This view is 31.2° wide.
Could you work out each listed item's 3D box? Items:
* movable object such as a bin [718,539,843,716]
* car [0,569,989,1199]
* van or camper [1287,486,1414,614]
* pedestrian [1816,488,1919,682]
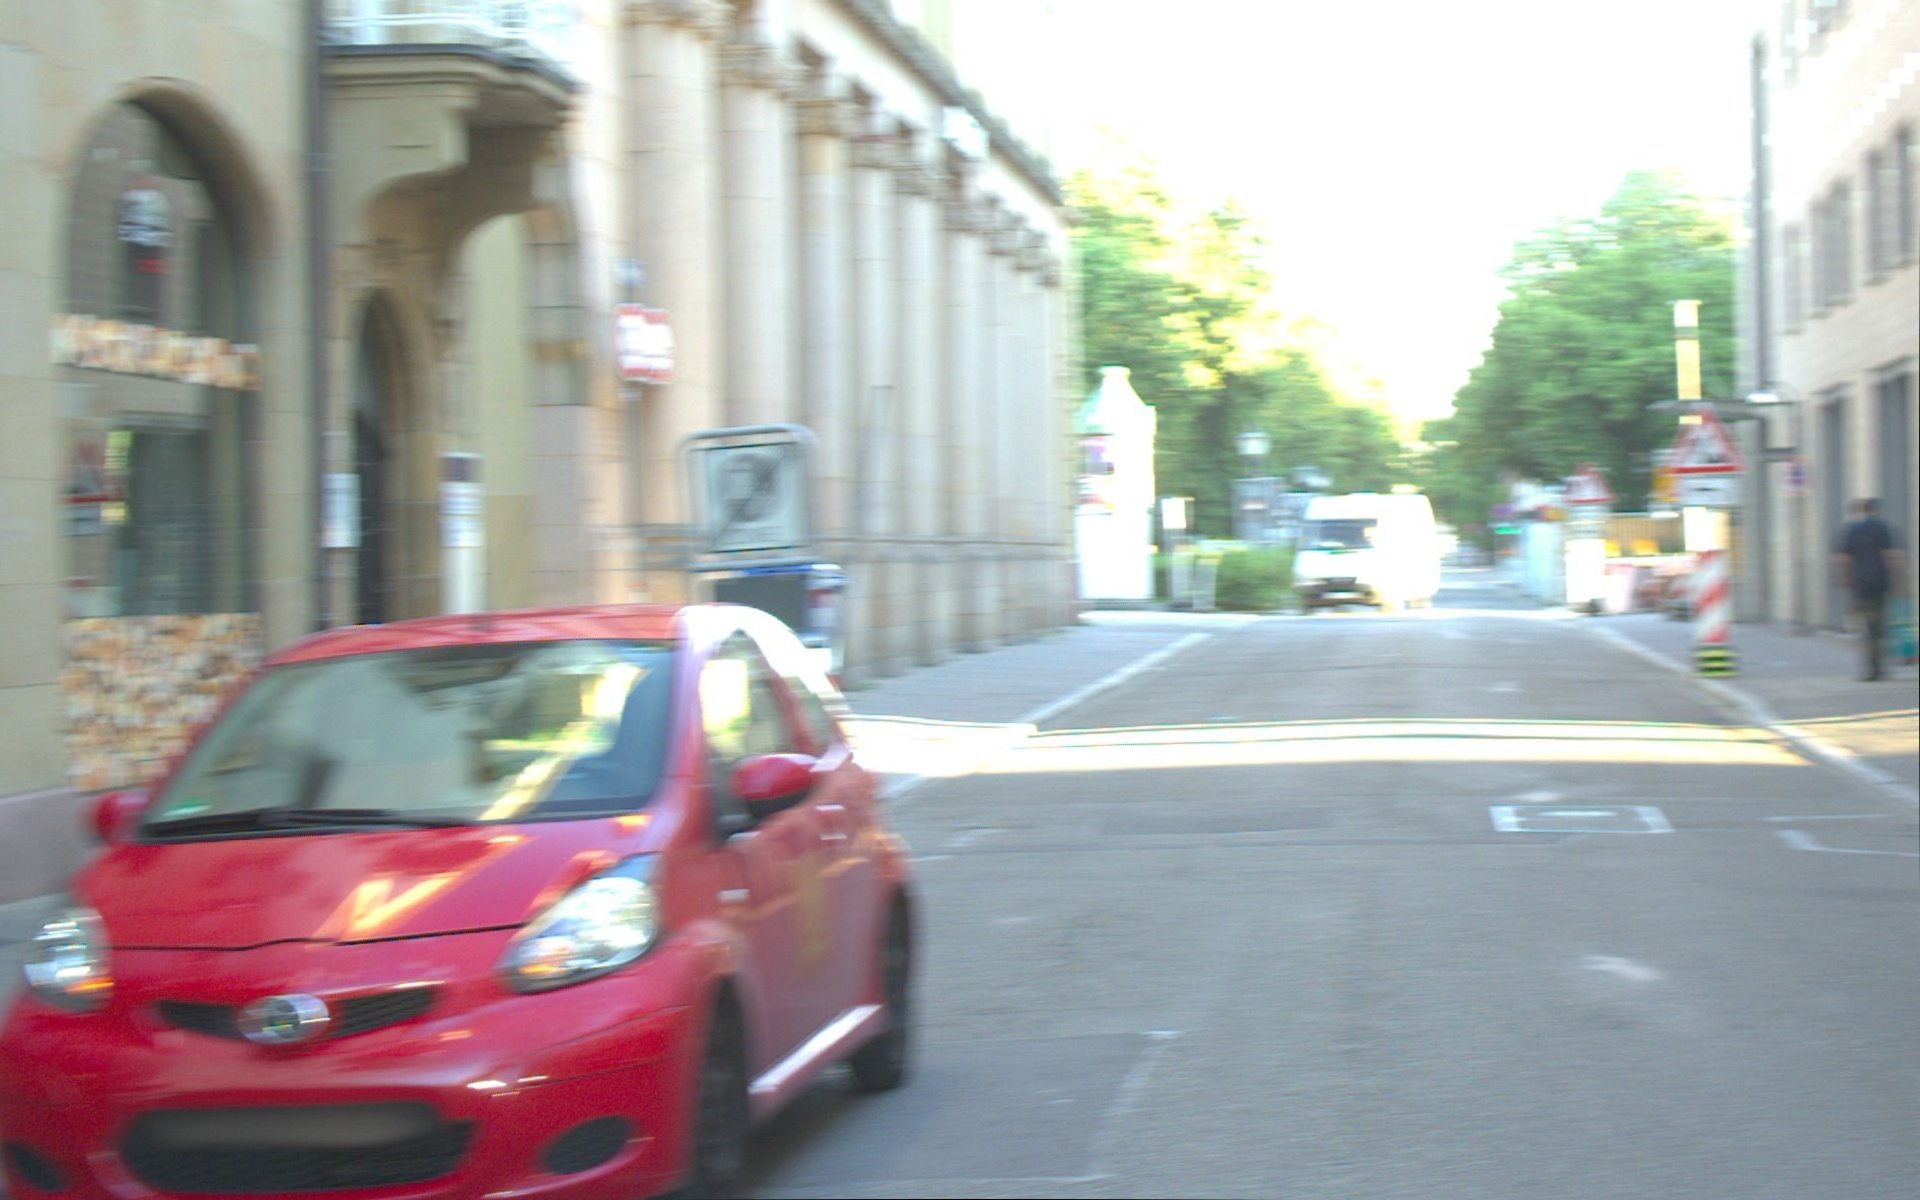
[{"bbox_3d":[-1.548,0.221,29.875,0.829,1.498,1.291,0,1,9],"label":"movable object such as a bin"},{"bbox_3d":[-1.074,0.721,8.934,1.658,1.464,3.930,-4,0,9],"label":"car"},{"bbox_3d":[8.312,-1.081,72.676,2.220,2.576,6.369,-1,1,10],"label":"van or camper"},{"bbox_3d":[8.983,-0.149,33.504,1.001,1.797,0.881,-5,-1,7],"label":"pedestrian"}]
